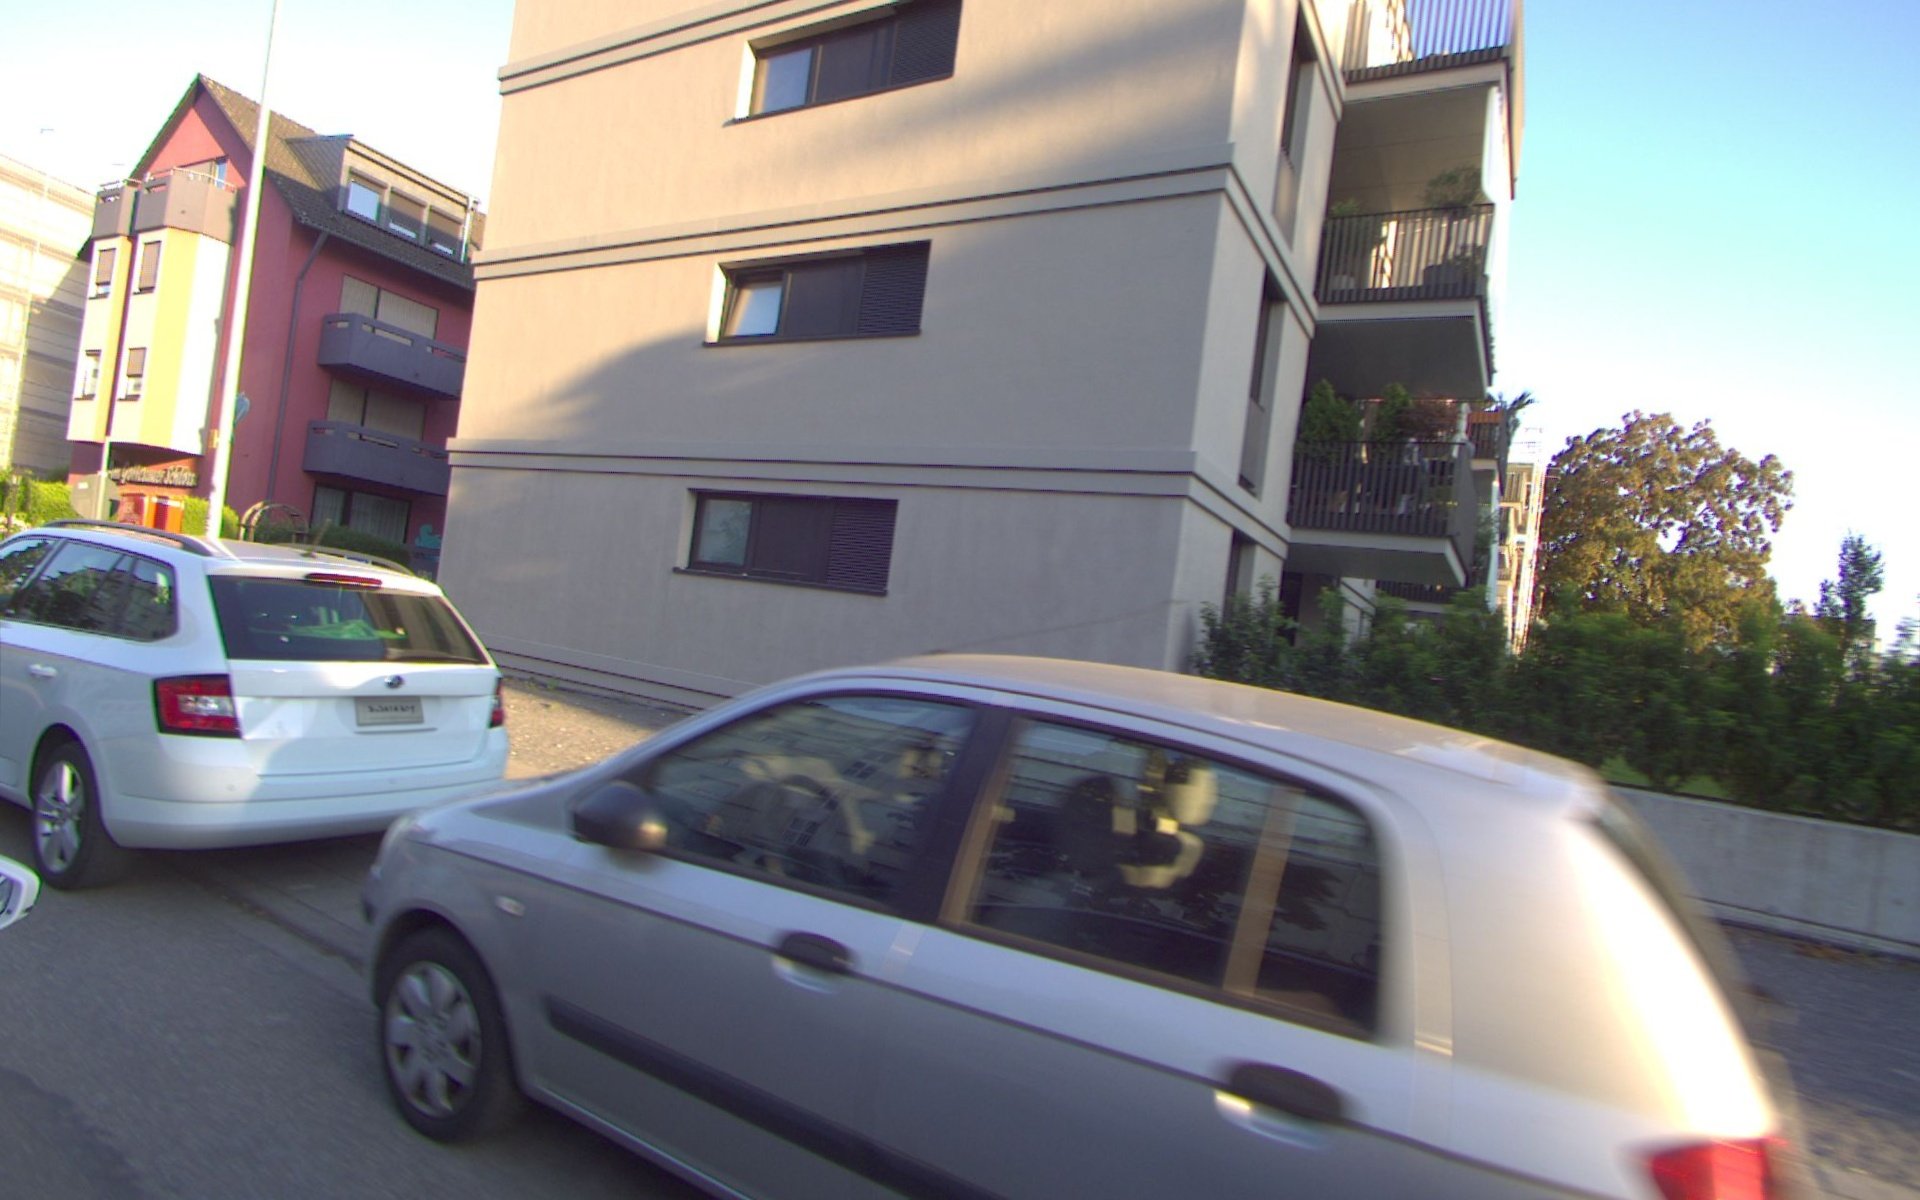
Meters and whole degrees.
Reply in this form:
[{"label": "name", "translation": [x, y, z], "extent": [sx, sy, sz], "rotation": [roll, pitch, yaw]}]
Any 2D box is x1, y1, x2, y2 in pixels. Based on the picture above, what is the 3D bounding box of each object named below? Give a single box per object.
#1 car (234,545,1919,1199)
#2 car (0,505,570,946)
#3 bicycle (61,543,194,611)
[{"label": "car", "translation": [-0.062, 0.844, 2.906], "extent": [3.778, 1.486, 1.802], "rotation": [6, -2, 30]}, {"label": "car", "translation": [-4.120, 0.382, 5.255], "extent": [3.928, 1.486, 1.619], "rotation": [7, -2, 29]}, {"label": "bicycle", "translation": [-16.476, -0.436, 19.953], "extent": [0.439, 1.081, 1.894], "rotation": [6, -2, 37]}]
